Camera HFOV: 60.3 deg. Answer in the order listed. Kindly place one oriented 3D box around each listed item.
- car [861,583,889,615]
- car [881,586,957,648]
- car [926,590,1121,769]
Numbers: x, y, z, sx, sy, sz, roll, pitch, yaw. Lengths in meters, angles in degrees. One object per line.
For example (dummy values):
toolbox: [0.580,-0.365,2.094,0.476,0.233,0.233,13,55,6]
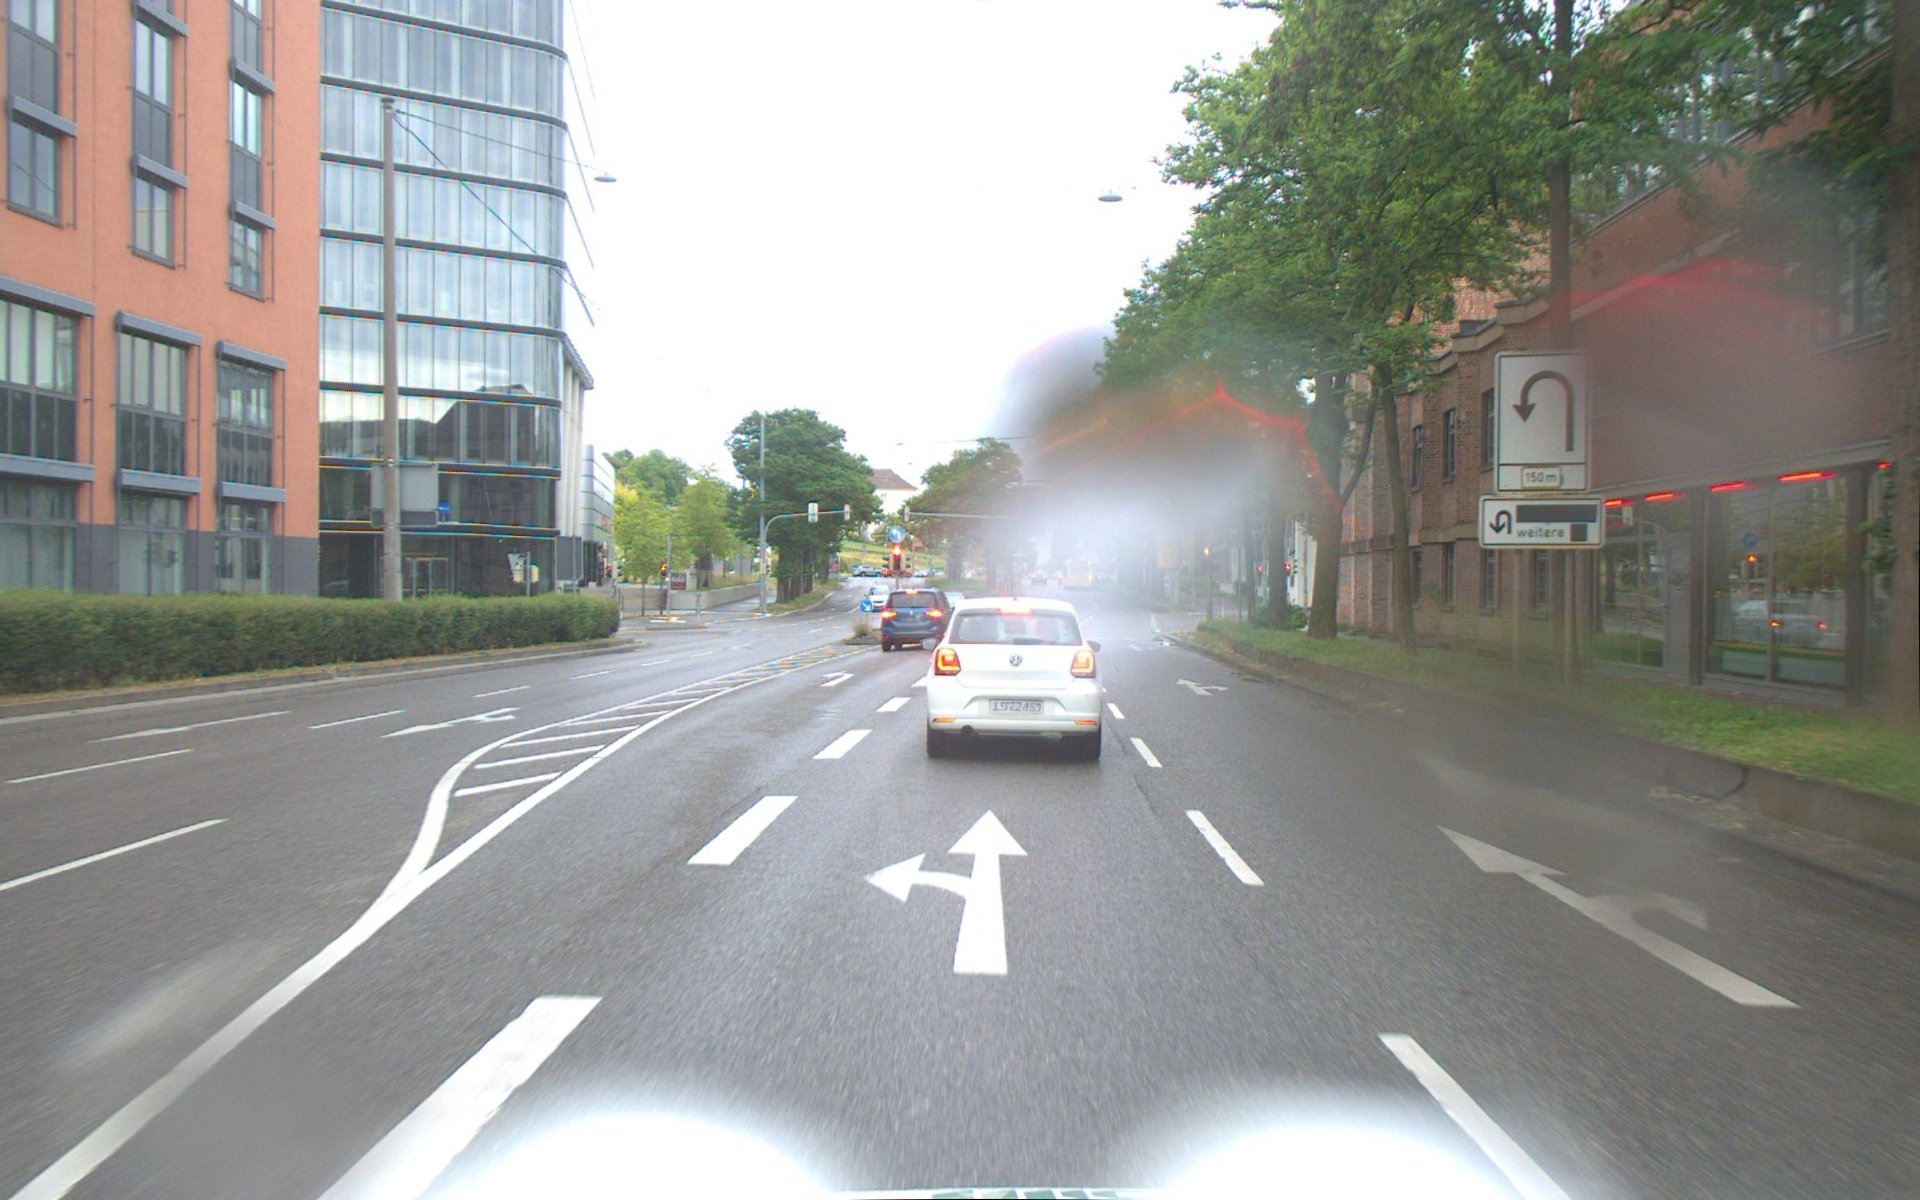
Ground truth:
car: [-5.240,-0.057,102.257,1.630,1.825,3.400,-2,-2,-2]
car: [-1.068,0.434,44.952,1.953,1.601,4.000,0,0,0]
car: [0.546,0.666,15.922,1.637,1.499,3.779,1,0,0]
